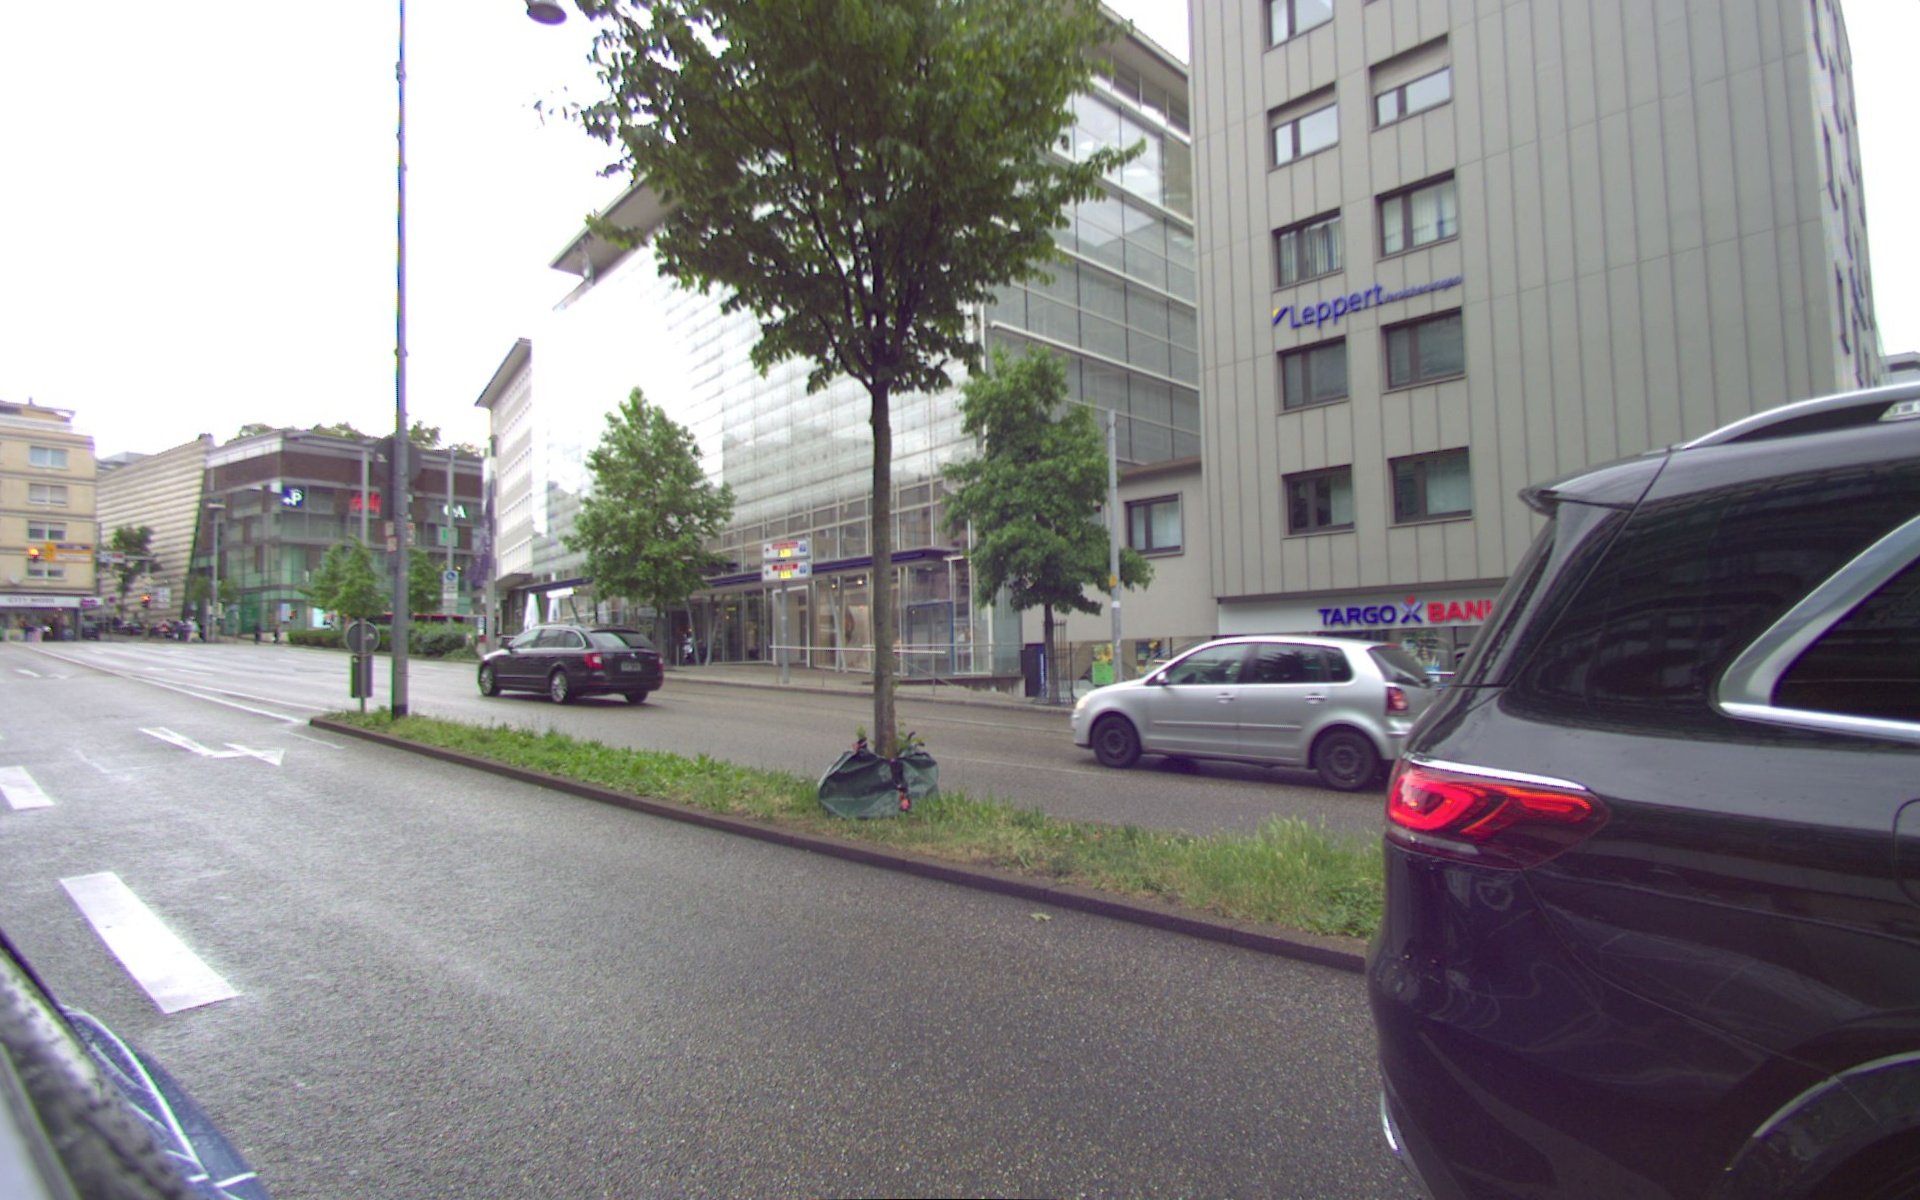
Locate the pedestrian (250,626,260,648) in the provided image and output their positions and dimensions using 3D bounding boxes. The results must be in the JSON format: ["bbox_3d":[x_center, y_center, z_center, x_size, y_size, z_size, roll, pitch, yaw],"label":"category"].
[{"bbox_3d":[-52.480,2.751,75.303,0.602,1.642,0.422,-1,-3,44],"label":"pedestrian"}]

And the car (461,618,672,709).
[{"bbox_3d":[-7.671,1.161,19.511,4.733,1.497,1.617,0,-3,39],"label":"car"}]

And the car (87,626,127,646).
[{"bbox_3d":[-89.794,3.744,106.473,4.575,2.029,1.977,0,-2,34],"label":"car"}]

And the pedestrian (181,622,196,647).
[{"bbox_3d":[-52.356,2.355,68.675,0.602,1.642,0.625,-1,-3,42],"label":"pedestrian"}]

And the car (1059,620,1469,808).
[{"bbox_3d":[3.076,1.062,10.607,3.750,1.479,1.616,2,-2,40],"label":"car"}]

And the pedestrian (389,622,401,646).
[{"bbox_3d":[-43.975,2.627,78.778,0.618,1.788,0.689,0,0,-45],"label":"pedestrian"}]

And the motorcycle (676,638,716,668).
[{"bbox_3d":[-12.043,2.434,46.205,0.620,1.336,1.685,-1,-3,41],"label":"motorcycle"}]

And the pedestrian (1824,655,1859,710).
[{"bbox_3d":[28.297,2.622,32.502,0.724,1.710,0.781,0,-3,34],"label":"pedestrian"}]

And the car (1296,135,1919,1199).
[{"bbox_3d":[3.095,0.388,0.778,5.069,1.884,1.892,0,0,40],"label":"car"}]

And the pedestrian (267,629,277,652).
[{"bbox_3d":[-49.907,2.935,73.378,0.603,1.642,0.422,-1,-3,45],"label":"pedestrian"}]

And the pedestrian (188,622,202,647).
[{"bbox_3d":[-51.554,2.318,68.166,0.603,1.642,0.625,-1,-3,44],"label":"pedestrian"}]
